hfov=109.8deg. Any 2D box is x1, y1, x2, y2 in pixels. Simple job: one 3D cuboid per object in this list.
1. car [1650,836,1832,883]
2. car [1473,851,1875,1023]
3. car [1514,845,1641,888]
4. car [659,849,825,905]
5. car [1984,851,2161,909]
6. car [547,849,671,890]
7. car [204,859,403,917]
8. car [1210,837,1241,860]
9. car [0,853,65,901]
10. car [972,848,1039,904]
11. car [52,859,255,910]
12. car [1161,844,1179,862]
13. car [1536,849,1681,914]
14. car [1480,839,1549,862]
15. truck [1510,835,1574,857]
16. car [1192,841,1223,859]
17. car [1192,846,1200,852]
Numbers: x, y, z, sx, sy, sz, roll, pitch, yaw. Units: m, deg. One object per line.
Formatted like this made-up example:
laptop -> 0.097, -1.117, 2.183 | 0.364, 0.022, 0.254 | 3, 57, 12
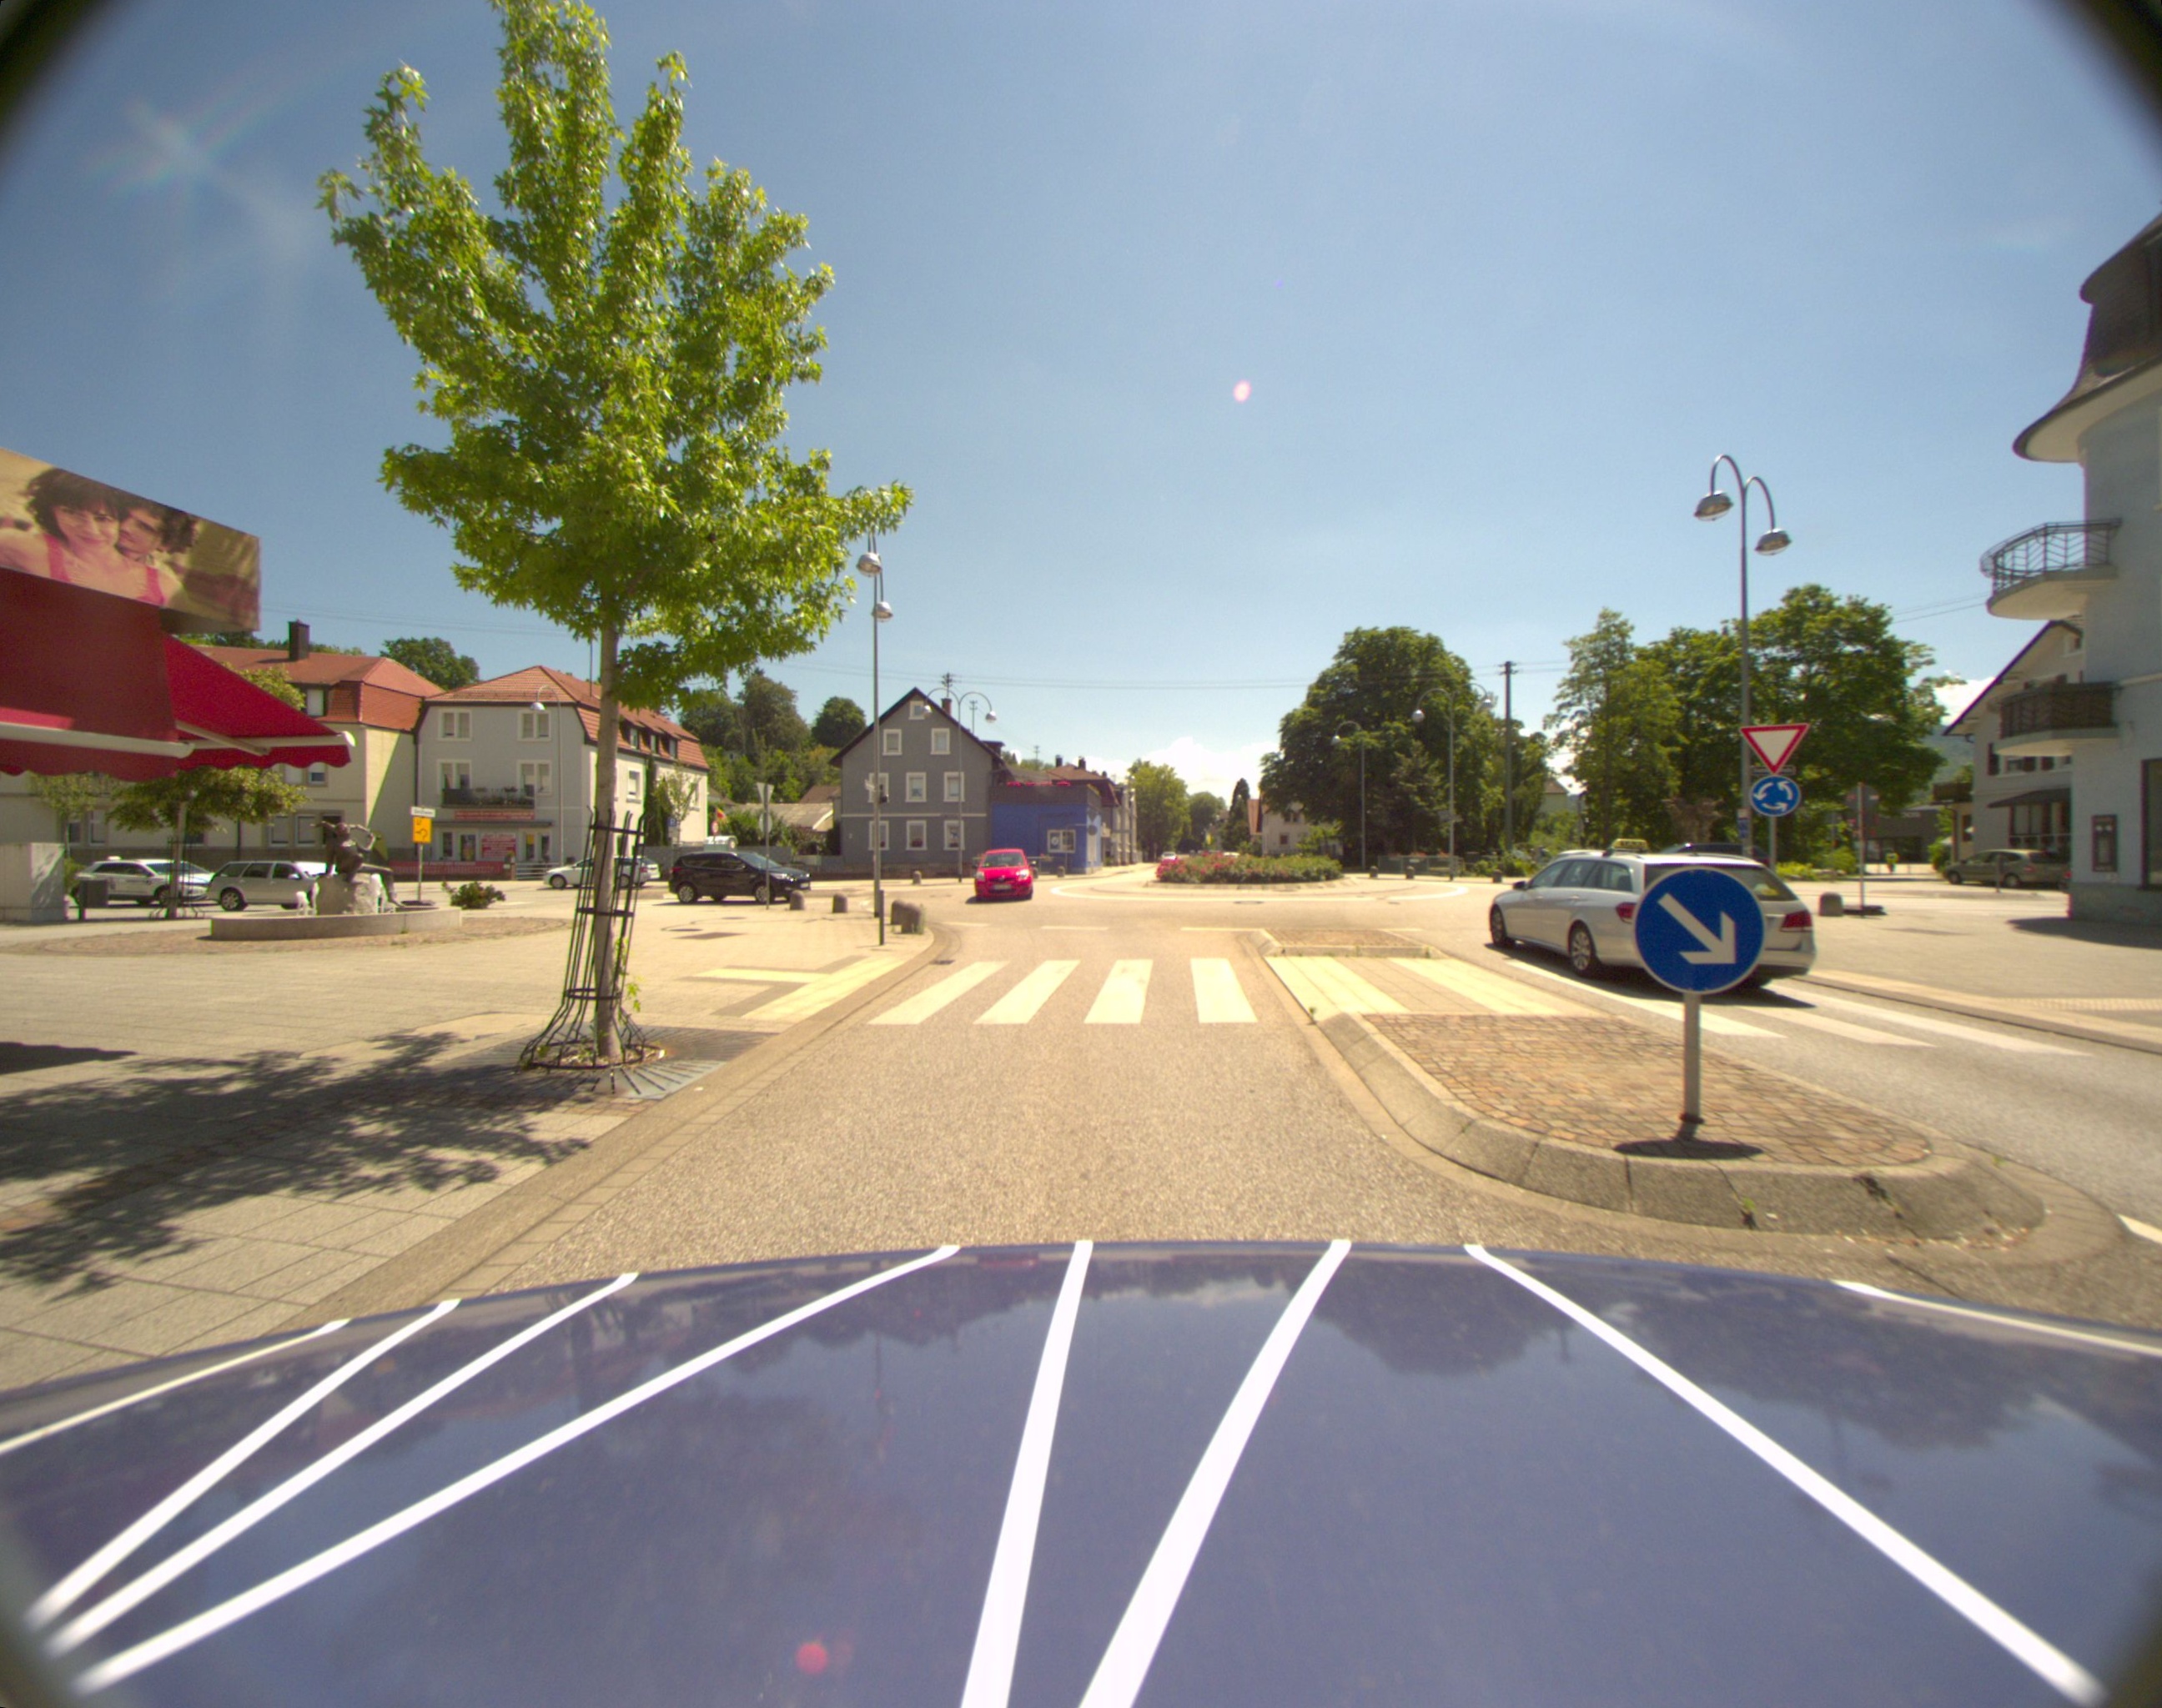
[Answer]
car -> 23.606, 0.209, 27.365 | 4.611, 1.575, 1.951 | 1, -1, 11
car -> 6.915, 0.767, 9.764 | 1.997, 1.583, 5.003 | 1, 1, 11
car -> 18.382, 0.441, 28.301 | 3.587, 1.537, 1.756 | 0, 1, 14
car -> -11.010, 0.717, 24.871 | 4.521, 1.679, 2.001 | -1, 2, 7
car -> 28.289, 0.693, 21.257 | 4.711, 1.469, 1.997 | 0, 1, -14
car -> -21.425, 0.681, 34.650 | 4.286, 1.576, 1.997 | -1, 5, -8
car -> -22.385, 0.963, 21.973 | 3.996, 1.580, 1.802 | 0, -1, 2
car -> 11.453, -0.441, 60.400 | 1.930, 1.375, 4.285 | -3, 5, 6
car -> -44.331, 0.874, 30.242 | 4.289, 1.853, 1.998 | 1, -1, -15
car -> -2.315, 0.629, 23.688 | 1.834, 1.524, 3.998 | -3, 0, -4
car -> -30.758, 0.974, 25.344 | 4.001, 1.565, 1.835 | 0, 1, -12
car -> 10.572, -0.041, 90.376 | 1.997, 2.001, 4.003 | 1, -1, 7
car -> 13.201, 0.621, 18.960 | 3.796, 1.450, 1.700 | 0, 1, -35
car -> 31.139, -0.263, 54.718 | 1.845, 1.592, 3.992 | -1, 1, -23
truck -> 54.174, -0.886, 89.335 | 6.200, 2.428, 2.270 | 0, -2, 40
car -> 12.681, -0.388, 76.583 | 2.000, 1.554, 4.162 | 2, 3, -6
car -> 31.808, -1.350, 210.046 | 1.738, 1.695, 4.003 | -1, -2, 4
